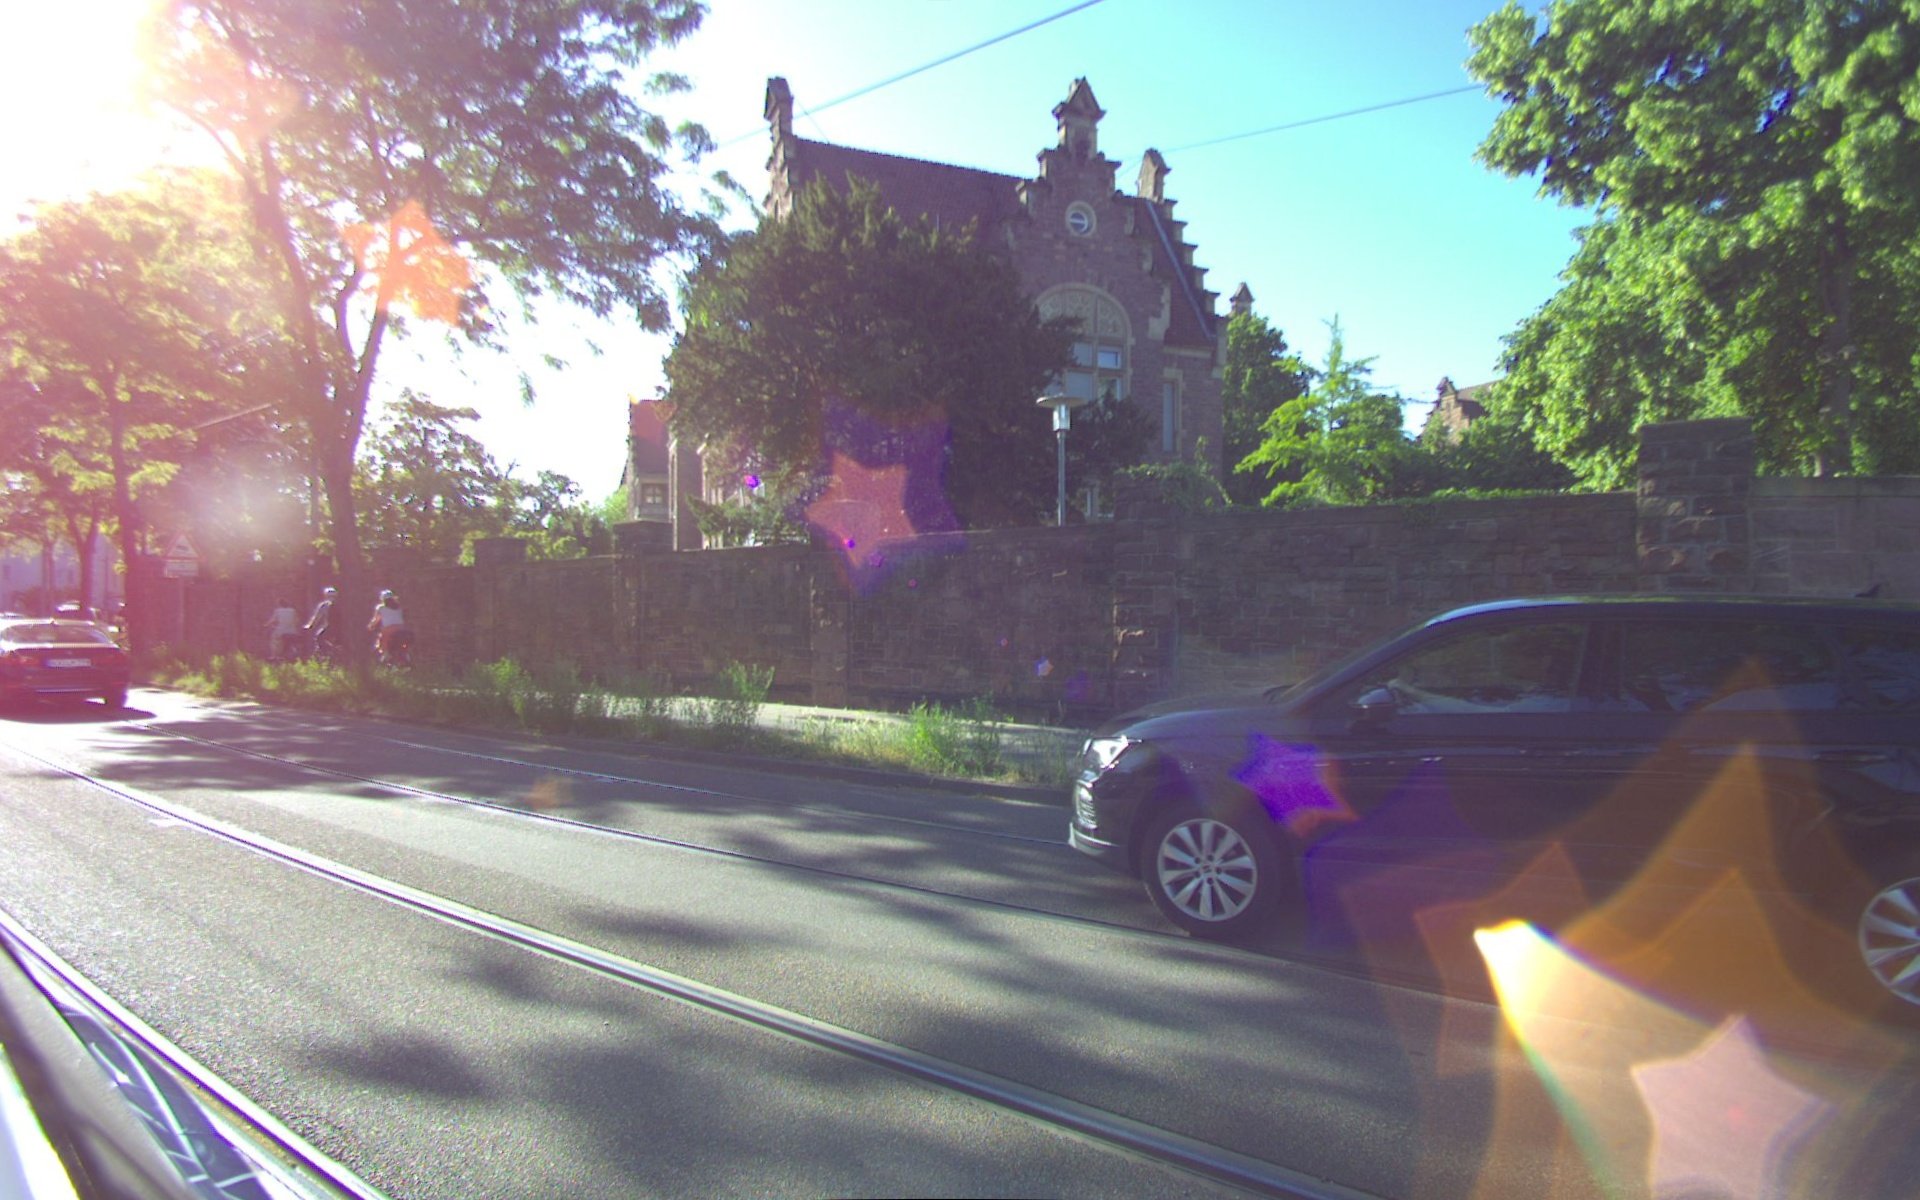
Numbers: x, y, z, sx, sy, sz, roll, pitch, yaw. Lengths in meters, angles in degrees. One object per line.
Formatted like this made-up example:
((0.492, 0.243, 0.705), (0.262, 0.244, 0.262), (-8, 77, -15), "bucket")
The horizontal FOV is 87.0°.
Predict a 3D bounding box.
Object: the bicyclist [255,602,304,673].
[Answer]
((-15.232, 0.819, 22.642), (0.751, 1.546, 0.734), (-1, 0, 41), "bicyclist")

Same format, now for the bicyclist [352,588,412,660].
((-11.600, 0.476, 20.299), (1.060, 1.401, 0.724), (-1, 0, 41), "bicyclist")

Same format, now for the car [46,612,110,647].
((-47.937, 1.554, 55.060), (1.802, 1.824, 4.012), (0, -1, -29), "car")

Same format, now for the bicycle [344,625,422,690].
((-11.581, 1.116, 20.282), (2.087, 1.200, 0.724), (0, 0, 41), "bicycle")

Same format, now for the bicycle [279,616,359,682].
((-12.614, 0.935, 19.900), (2.101, 1.200, 0.764), (0, 0, 41), "bicycle")

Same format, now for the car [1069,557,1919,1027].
((2.778, 0.707, 4.849), (4.094, 1.629, 1.911), (-2, -2, 25), "car")

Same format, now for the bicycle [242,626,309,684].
((-15.460, 1.215, 22.847), (2.087, 1.200, 0.737), (0, 0, 41), "bicycle")

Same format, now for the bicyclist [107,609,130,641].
((-34.914, 1.033, 42.013), (0.674, 1.294, 0.873), (0, 0, -37), "bicyclist")

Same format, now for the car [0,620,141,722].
((-15.198, 1.057, 16.332), (4.244, 1.433, 1.723), (-1, -1, 31), "car")

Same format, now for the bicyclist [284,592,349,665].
((-12.710, 0.542, 19.976), (1.271, 1.401, 0.758), (-1, 0, 41), "bicyclist")

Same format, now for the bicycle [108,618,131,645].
((-34.951, 1.309, 42.080), (0.674, 1.086, 1.740), (0, 0, -38), "bicycle")
